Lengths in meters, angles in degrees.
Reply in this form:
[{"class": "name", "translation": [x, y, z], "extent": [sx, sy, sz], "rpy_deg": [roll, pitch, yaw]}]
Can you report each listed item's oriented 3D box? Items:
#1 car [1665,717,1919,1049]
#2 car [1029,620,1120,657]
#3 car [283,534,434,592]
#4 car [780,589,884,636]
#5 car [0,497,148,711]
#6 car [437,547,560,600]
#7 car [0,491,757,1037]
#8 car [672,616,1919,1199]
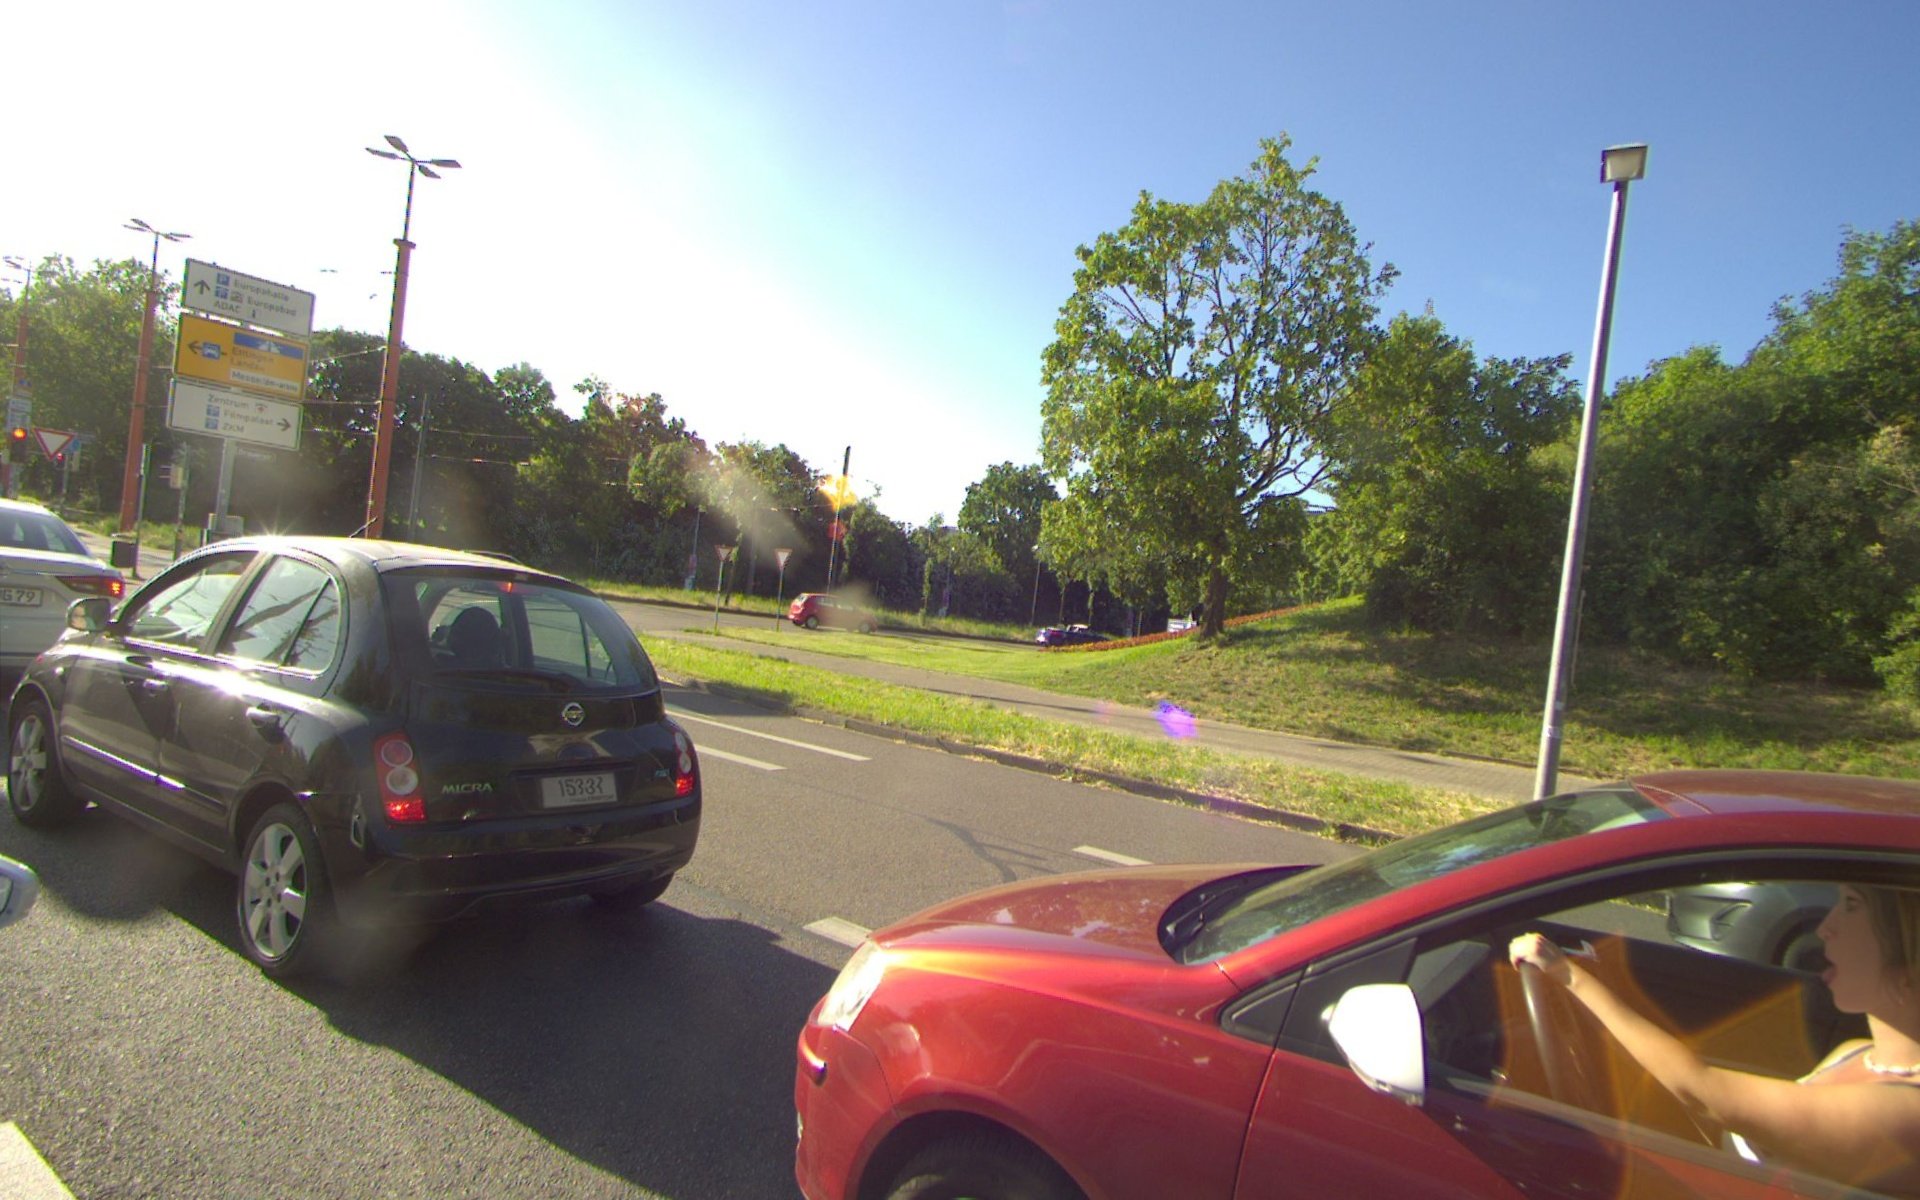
[{"class": "car", "translation": [6.106, 1.663, 5.228], "extent": [3.831, 1.487, 1.747], "rpy_deg": [7, -1, 35]}, {"class": "car", "translation": [6.169, 2.082, 54.202], "extent": [4.617, 1.379, 1.758], "rpy_deg": [8, -1, -30]}, {"class": "car", "translation": [-20.493, -1.247, 34.479], "extent": [4.271, 1.343, 1.748], "rpy_deg": [8, -1, -29]}, {"class": "car", "translation": [-5.526, 0.559, 43.446], "extent": [3.958, 1.512, 1.757], "rpy_deg": [8, -1, -31]}, {"class": "car", "translation": [-8.352, -0.166, 7.978], "extent": [4.077, 1.472, 1.717], "rpy_deg": [7, -1, 33]}, {"class": "car", "translation": [-18.213, -1.048, 39.736], "extent": [4.186, 1.497, 1.741], "rpy_deg": [8, -1, -29]}, {"class": "car", "translation": [-2.827, 0.462, 4.625], "extent": [3.457, 1.524, 1.558], "rpy_deg": [7, 0, 32]}, {"class": "car", "translation": [1.365, 0.988, 1.894], "extent": [3.634, 1.434, 1.624], "rpy_deg": [7, -1, 34]}]
